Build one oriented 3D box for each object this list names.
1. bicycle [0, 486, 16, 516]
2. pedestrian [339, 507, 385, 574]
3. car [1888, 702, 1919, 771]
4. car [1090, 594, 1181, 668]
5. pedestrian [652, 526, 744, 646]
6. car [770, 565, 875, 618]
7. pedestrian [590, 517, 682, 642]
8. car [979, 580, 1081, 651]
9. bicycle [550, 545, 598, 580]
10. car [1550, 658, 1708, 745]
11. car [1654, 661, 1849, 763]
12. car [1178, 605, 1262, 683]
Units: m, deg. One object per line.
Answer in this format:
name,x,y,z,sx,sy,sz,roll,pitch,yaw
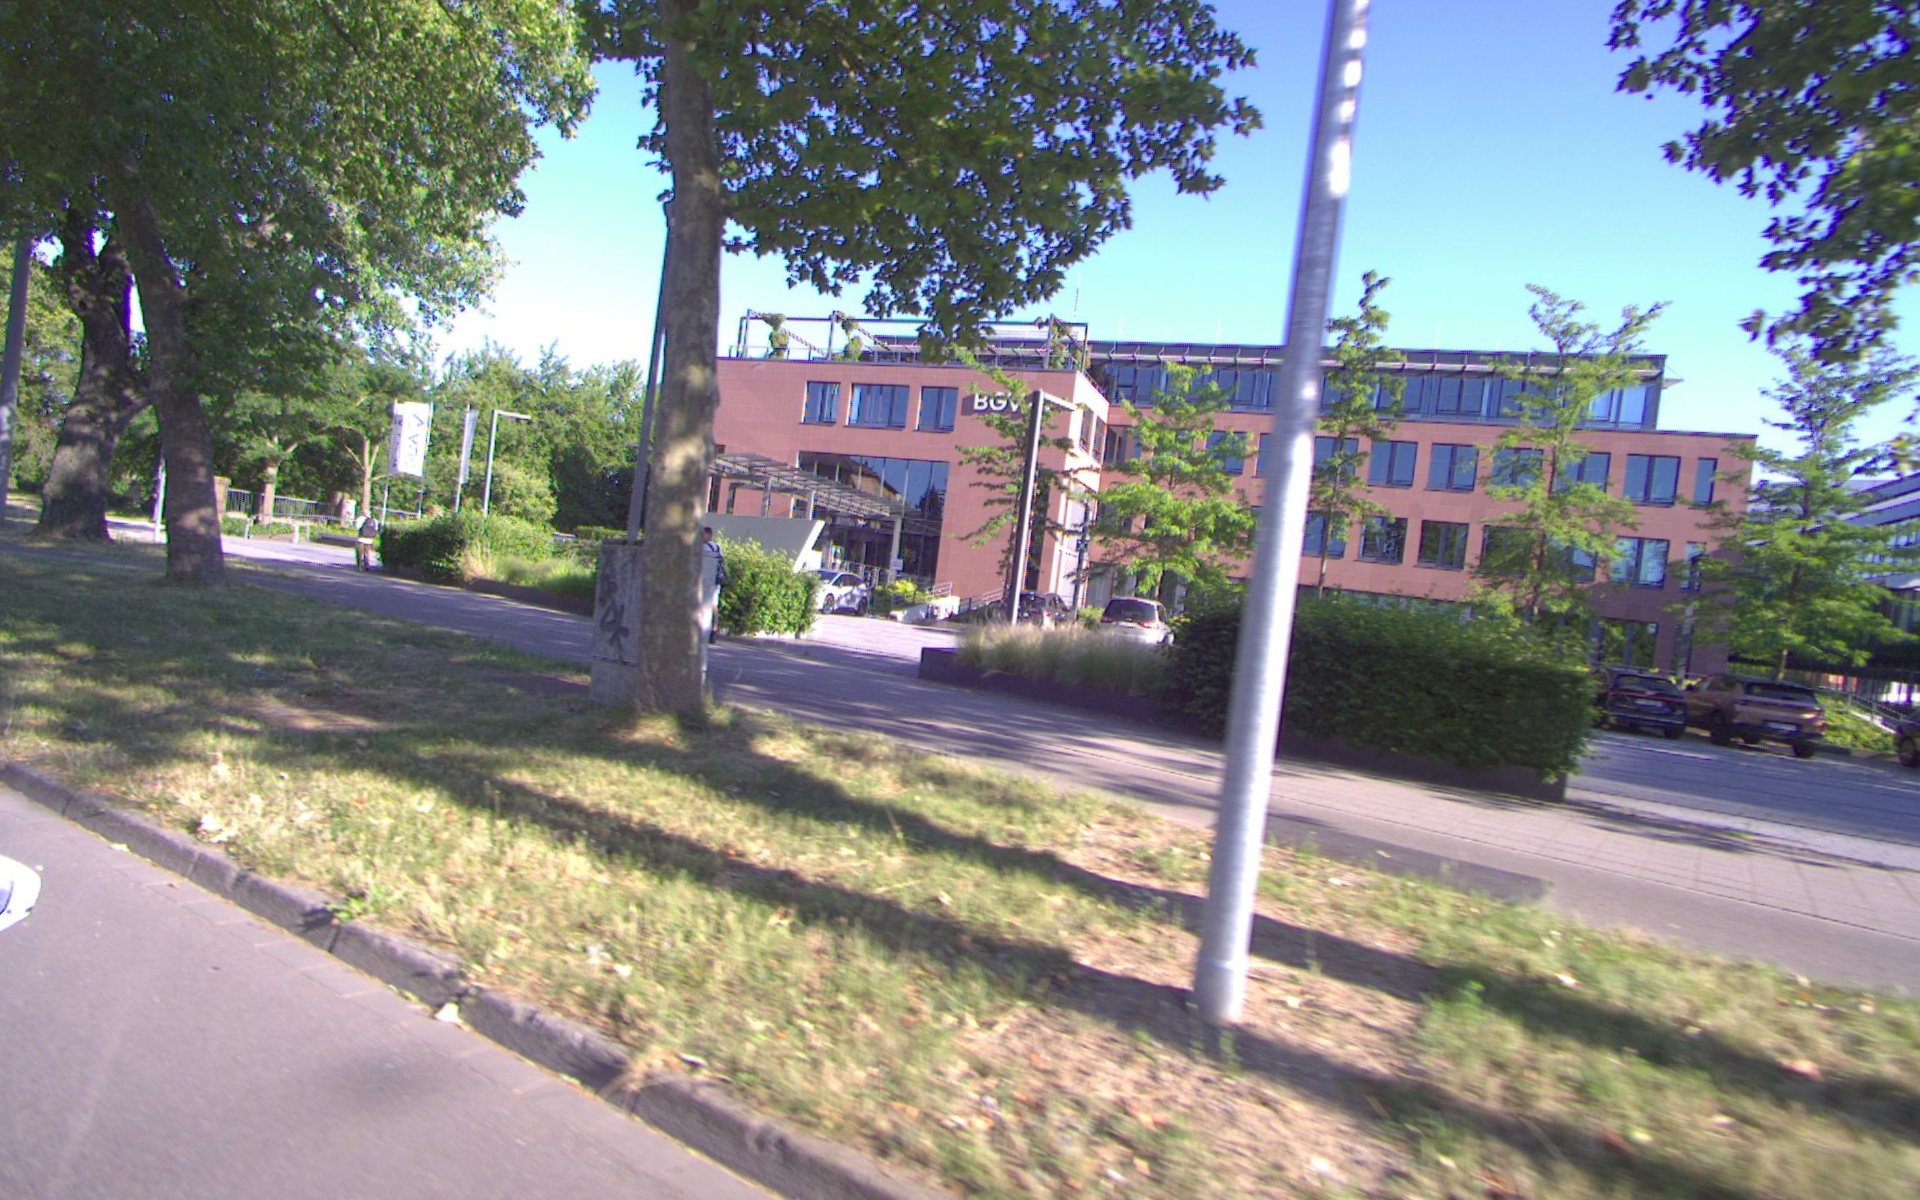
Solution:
bicycle,-37.231,-3.892,37.891,0.754,1.053,2.261,8,1,35
pedestrian,-14.825,-1.469,24.942,0.771,1.559,0.649,8,2,38
car,22.556,3.231,21.559,2.034,1.503,4.686,8,0,19
car,5.213,0.875,29.406,1.814,1.735,4.684,8,1,17
pedestrian,-4.254,-0.228,16.313,1.093,1.817,0.804,7,2,38
car,-4.781,-0.243,35.630,1.962,1.526,4.172,8,1,17
pedestrian,-5.054,-0.318,15.699,1.070,1.817,0.749,7,2,38
car,2.212,0.477,30.212,1.814,1.735,4.684,8,1,17
bicycle,-15.266,-1.476,39.729,1.900,1.171,0.820,7,1,38
car,16.137,2.374,24.563,1.926,1.485,4.684,8,1,19
car,18.679,2.559,24.068,2.034,1.735,4.683,8,1,19
car,7.336,1.165,28.051,1.814,1.735,4.684,8,1,17
